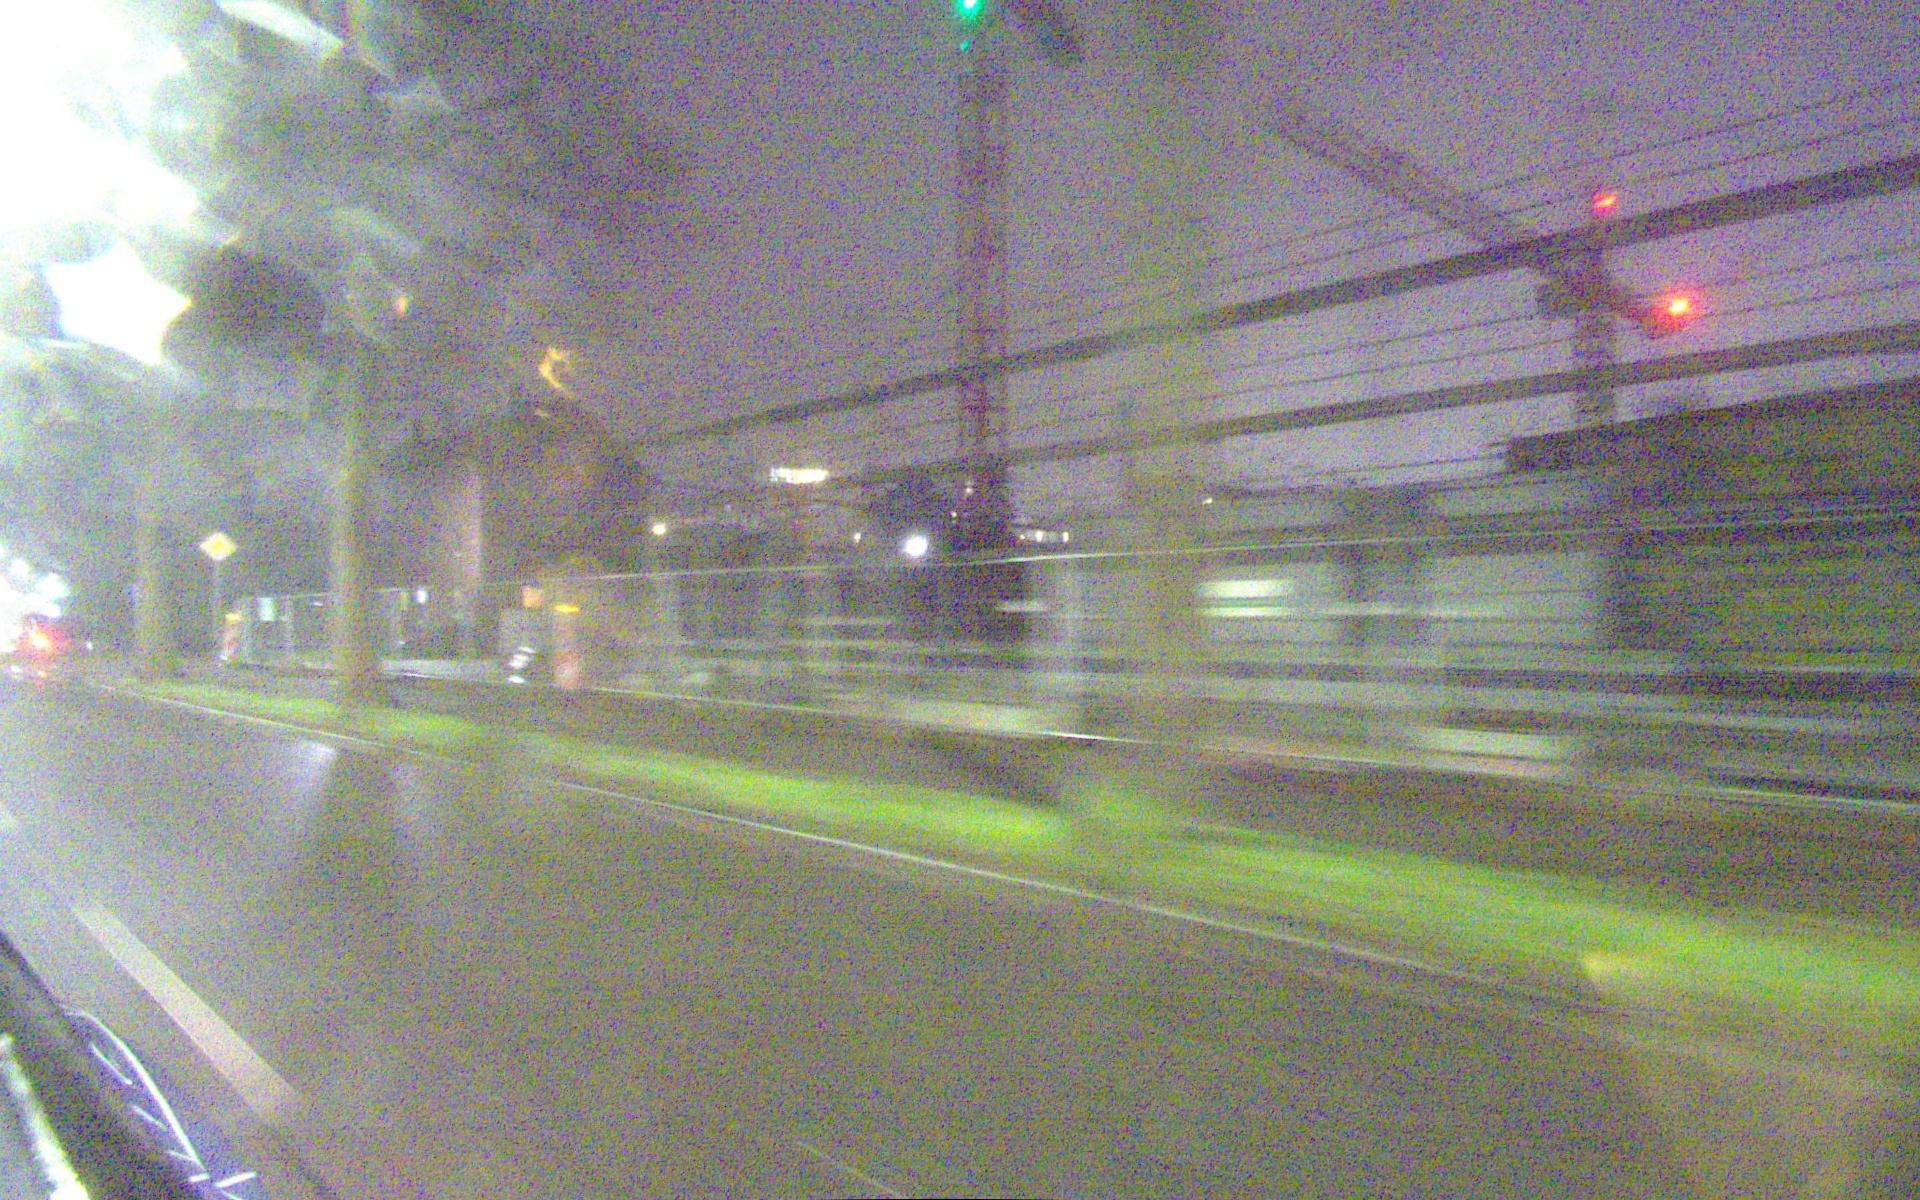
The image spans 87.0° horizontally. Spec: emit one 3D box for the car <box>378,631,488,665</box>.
[{"bbox_3d":[-23.326,2.127,44.865,4.028,1.381,1.495,3,0,-44],"label":"car"}]

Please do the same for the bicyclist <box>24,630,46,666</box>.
[{"bbox_3d":[-42.422,2.195,46.408,0.959,1.607,0.630,-5,-3,40],"label":"bicyclist"}]

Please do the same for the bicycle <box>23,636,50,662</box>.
[{"bbox_3d":[-42.395,2.250,46.449,2.312,1.170,0.623,-1,-3,40],"label":"bicycle"}]
